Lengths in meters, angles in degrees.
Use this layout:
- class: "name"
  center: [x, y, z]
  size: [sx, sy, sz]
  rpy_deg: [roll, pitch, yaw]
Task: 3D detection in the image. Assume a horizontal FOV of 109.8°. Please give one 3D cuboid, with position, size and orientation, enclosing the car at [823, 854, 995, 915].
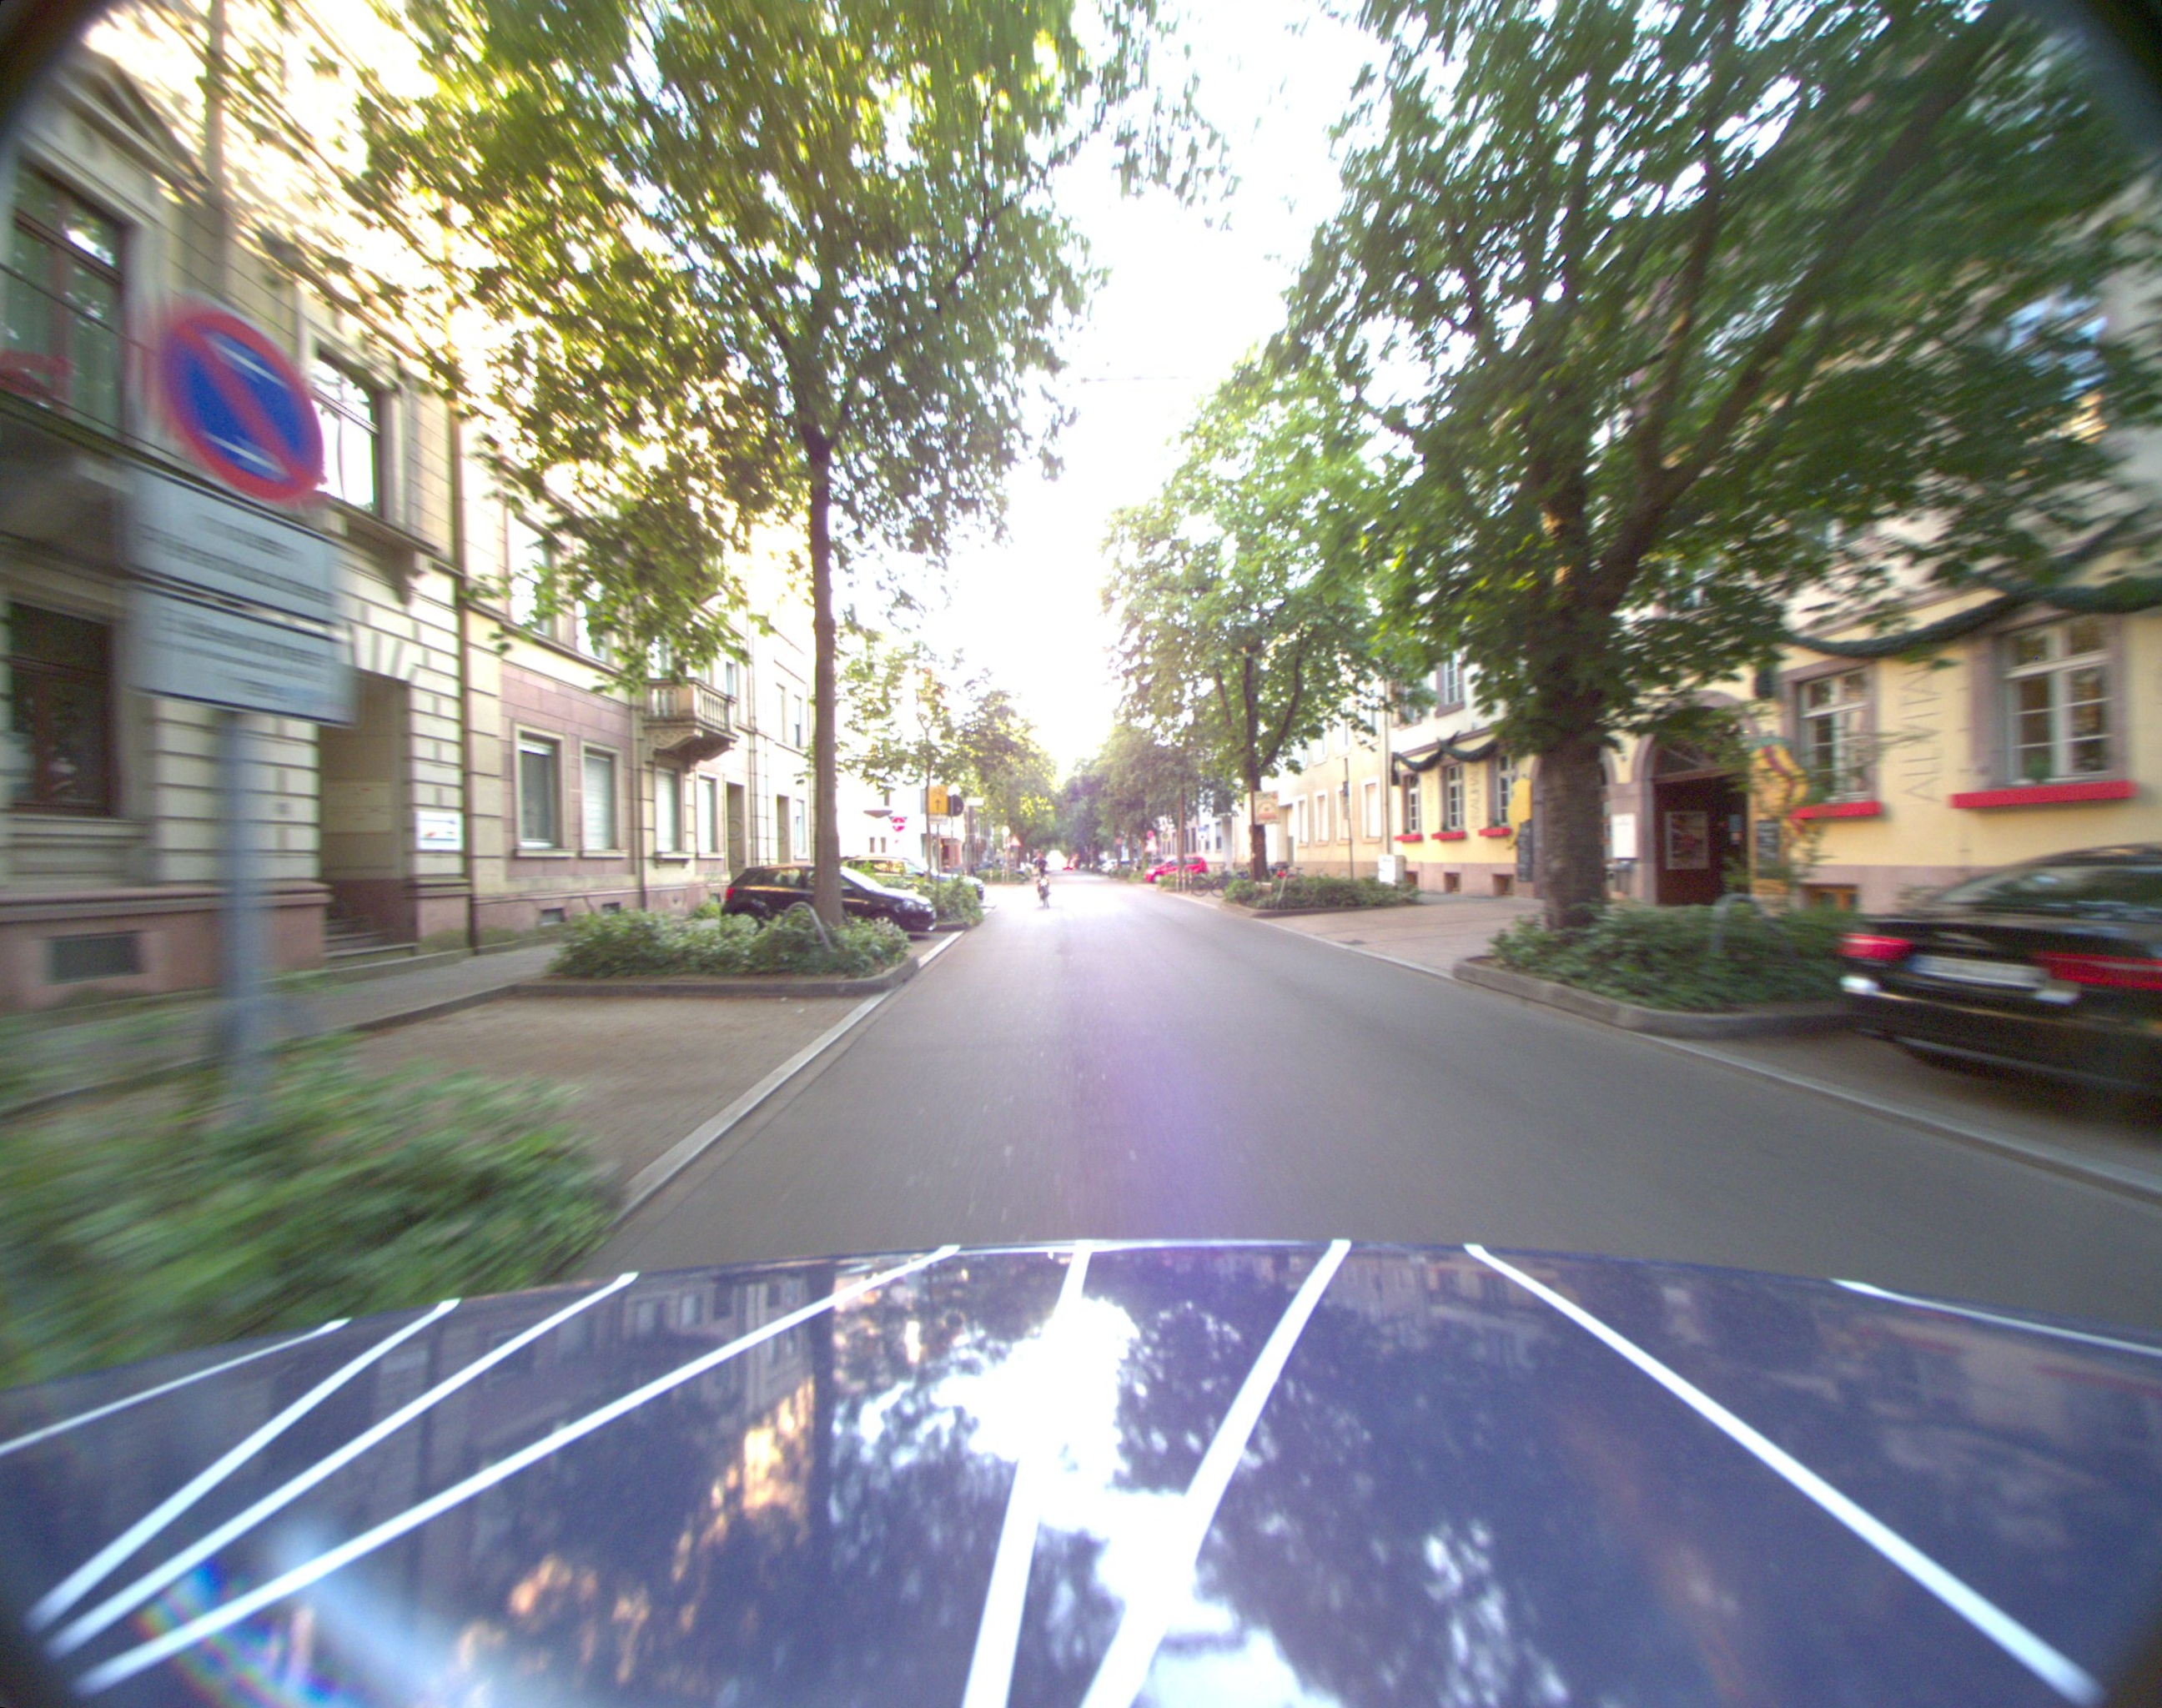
- class: "car"
  center: [-4.895, 0.854, 22.000]
  size: [4.421, 1.552, 1.867]
  rpy_deg: [2, -1, 5]

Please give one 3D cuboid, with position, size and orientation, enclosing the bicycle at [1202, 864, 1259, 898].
- class: "bicycle"
  center: [5.321, 0.949, 27.044]
  size: [1.869, 1.093, 0.480]
  rpy_deg: [-3, 1, -8]

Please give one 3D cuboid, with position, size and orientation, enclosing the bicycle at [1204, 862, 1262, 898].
- class: "bicycle"
  center: [5.306, 0.913, 26.521]
  size: [1.869, 1.138, 0.480]
  rpy_deg: [-3, 1, -8]

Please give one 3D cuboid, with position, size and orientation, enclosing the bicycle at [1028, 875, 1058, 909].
- class: "bicycle"
  center: [-1.182, 1.177, 23.959]
  size: [0.778, 0.967, 2.024]
  rpy_deg: [-2, 0, 1]

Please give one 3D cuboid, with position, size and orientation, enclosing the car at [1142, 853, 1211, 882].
- class: "car"
  center: [5.312, 0.743, 42.675]
  size: [3.498, 1.397, 1.672]
  rpy_deg: [-4, 0, -5]

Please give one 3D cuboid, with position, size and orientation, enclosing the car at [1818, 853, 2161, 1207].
- class: "car"
  center: [6.832, 0.714, 4.032]
  size: [4.437, 1.399, 1.717]
  rpy_deg: [-3, 1, -6]

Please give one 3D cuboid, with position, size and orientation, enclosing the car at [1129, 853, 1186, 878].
- class: "car"
  center: [5.166, 0.797, 51.492]
  size: [3.553, 1.411, 1.590]
  rpy_deg: [-4, 0, -5]

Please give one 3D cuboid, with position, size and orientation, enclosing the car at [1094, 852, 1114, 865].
- class: "car"
  center: [2.729, 0.554, 91.106]
  size: [1.999, 1.368, 3.999]
  rpy_deg: [-3, 1, -2]

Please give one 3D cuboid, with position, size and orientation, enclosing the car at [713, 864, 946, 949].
- class: "car"
  center: [-4.687, 0.966, 14.607]
  size: [3.876, 1.419, 1.781]
  rpy_deg: [2, -1, -3]

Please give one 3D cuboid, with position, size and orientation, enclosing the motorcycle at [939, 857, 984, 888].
- class: "motorcycle"
  center: [-6.474, 0.976, 41.014]
  size: [2.248, 1.537, 0.772]
  rpy_deg: [-3, 1, -17]

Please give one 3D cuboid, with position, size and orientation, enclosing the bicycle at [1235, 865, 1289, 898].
- class: "bicycle"
  center: [6.701, 1.011, 28.112]
  size: [1.869, 1.093, 0.480]
  rpy_deg: [-3, 1, -8]

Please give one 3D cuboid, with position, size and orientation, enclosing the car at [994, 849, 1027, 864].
- class: "car"
  center: [-7.981, 0.273, 85.974]
  size: [3.552, 1.411, 1.590]
  rpy_deg: [-4, 0, -2]

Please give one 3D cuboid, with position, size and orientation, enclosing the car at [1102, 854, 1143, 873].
- class: "car"
  center: [3.782, 0.864, 69.790]
  size: [3.552, 1.411, 1.590]
  rpy_deg: [-4, 0, -2]

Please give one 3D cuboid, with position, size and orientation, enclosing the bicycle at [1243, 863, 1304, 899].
- class: "bicycle"
  center: [6.414, 0.891, 25.315]
  size: [1.869, 1.093, 0.480]
  rpy_deg: [-3, 1, -8]

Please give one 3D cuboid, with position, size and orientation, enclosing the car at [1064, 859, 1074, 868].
- class: "car"
  center: [-2.143, 1.671, 136.141]
  size: [1.673, 1.411, 3.554]
  rpy_deg: [-4, 0, -2]

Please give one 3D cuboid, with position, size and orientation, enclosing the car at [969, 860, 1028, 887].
- class: "car"
  center: [-6.130, 1.435, 56.876]
  size: [4.167, 1.665, 1.590]
  rpy_deg: [-4, 0, -2]

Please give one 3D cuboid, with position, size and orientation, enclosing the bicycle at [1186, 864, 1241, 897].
- class: "bicycle"
  center: [4.825, 0.958, 27.690]
  size: [1.869, 1.092, 0.480]
  rpy_deg: [-3, 1, -8]

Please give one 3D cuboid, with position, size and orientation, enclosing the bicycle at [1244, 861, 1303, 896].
- class: "bicycle"
  center: [6.587, 0.833, 26.031]
  size: [1.869, 1.093, 0.509]
  rpy_deg: [-3, 1, -8]

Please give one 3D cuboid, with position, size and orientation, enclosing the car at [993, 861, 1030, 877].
- class: "car"
  center: [-7.122, 1.502, 77.750]
  size: [3.552, 1.411, 1.590]
  rpy_deg: [-4, 0, -2]

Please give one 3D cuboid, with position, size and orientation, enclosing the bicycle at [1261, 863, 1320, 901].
- class: "bicycle"
  center: [6.579, 0.878, 23.883]
  size: [1.712, 1.093, 0.480]
  rpy_deg: [-3, 1, -8]

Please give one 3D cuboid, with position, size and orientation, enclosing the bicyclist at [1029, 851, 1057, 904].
- class: "bicyclist"
  center: [-1.196, 0.725, 23.890]
  size: [0.753, 1.612, 1.147]
  rpy_deg: [-2, 0, 1]
